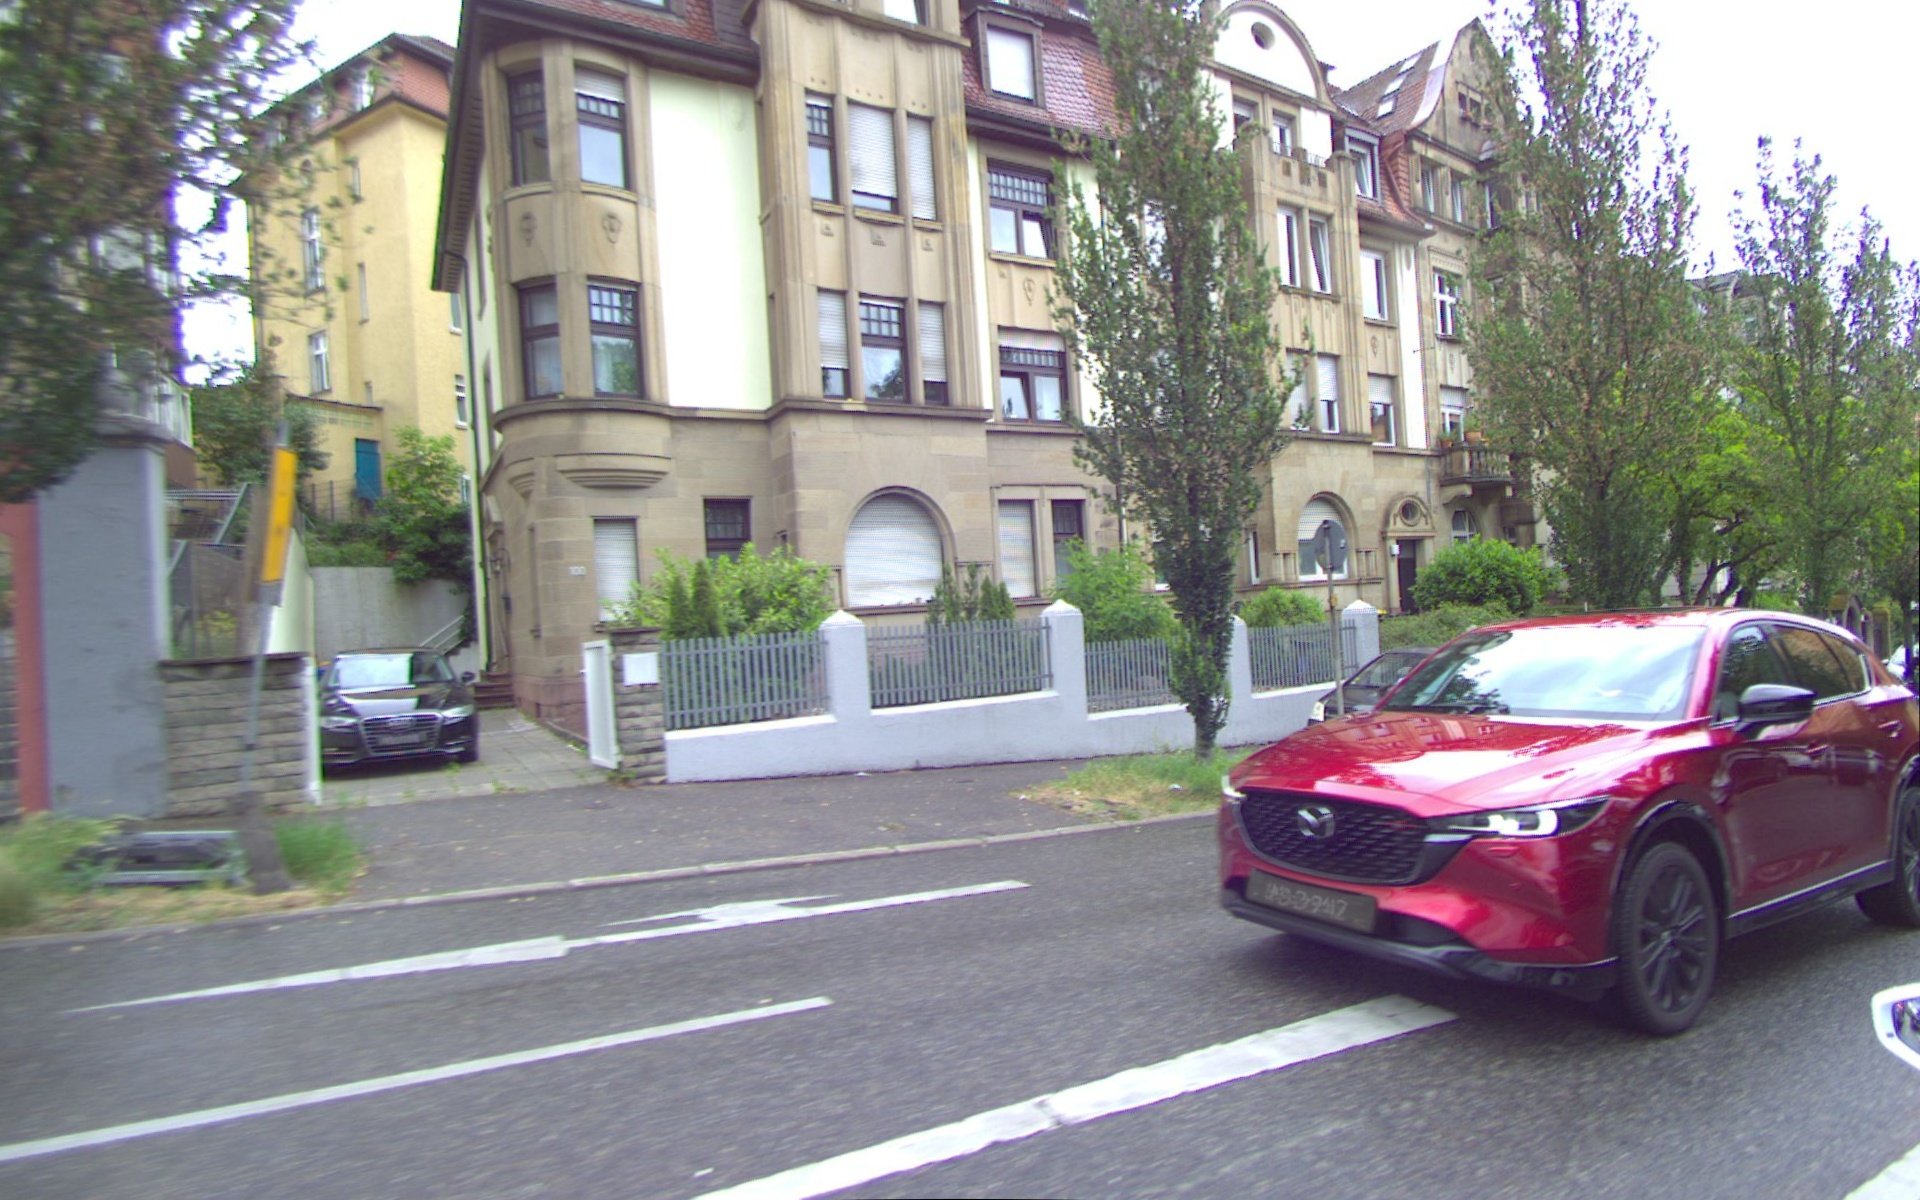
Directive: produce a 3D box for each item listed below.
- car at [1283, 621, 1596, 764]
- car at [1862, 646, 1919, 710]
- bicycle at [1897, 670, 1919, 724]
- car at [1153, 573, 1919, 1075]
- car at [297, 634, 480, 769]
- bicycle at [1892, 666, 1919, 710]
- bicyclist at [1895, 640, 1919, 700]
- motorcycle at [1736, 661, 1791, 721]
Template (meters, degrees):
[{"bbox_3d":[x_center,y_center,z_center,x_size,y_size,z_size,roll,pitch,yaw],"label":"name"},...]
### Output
[{"bbox_3d":[6.401,1.149,13.353,3.952,1.634,1.807,2,-1,-29],"label":"car"},{"bbox_3d":[26.790,2.132,27.926,4.159,1.672,1.775,2,-6,-38],"label":"car"},{"bbox_3d":[19.674,1.970,20.548,2.140,0.995,0.646,2,-1,-44],"label":"bicycle"},{"bbox_3d":[3.210,0.814,5.154,4.231,1.604,1.836,1,-4,-32],"label":"car"},{"bbox_3d":[-7.221,1.183,12.699,1.769,1.417,3.534,0,-3,-31],"label":"car"},{"bbox_3d":[25.245,2.275,26.048,0.377,1.135,1.451,1,-6,-39],"label":"bicycle"},{"bbox_3d":[19.799,1.437,20.673,1.075,1.185,0.763,2,-1,-44],"label":"bicyclist"},{"bbox_3d":[16.976,1.890,21.201,2.140,1.136,0.646,2,-1,-44],"label":"motorcycle"}]
